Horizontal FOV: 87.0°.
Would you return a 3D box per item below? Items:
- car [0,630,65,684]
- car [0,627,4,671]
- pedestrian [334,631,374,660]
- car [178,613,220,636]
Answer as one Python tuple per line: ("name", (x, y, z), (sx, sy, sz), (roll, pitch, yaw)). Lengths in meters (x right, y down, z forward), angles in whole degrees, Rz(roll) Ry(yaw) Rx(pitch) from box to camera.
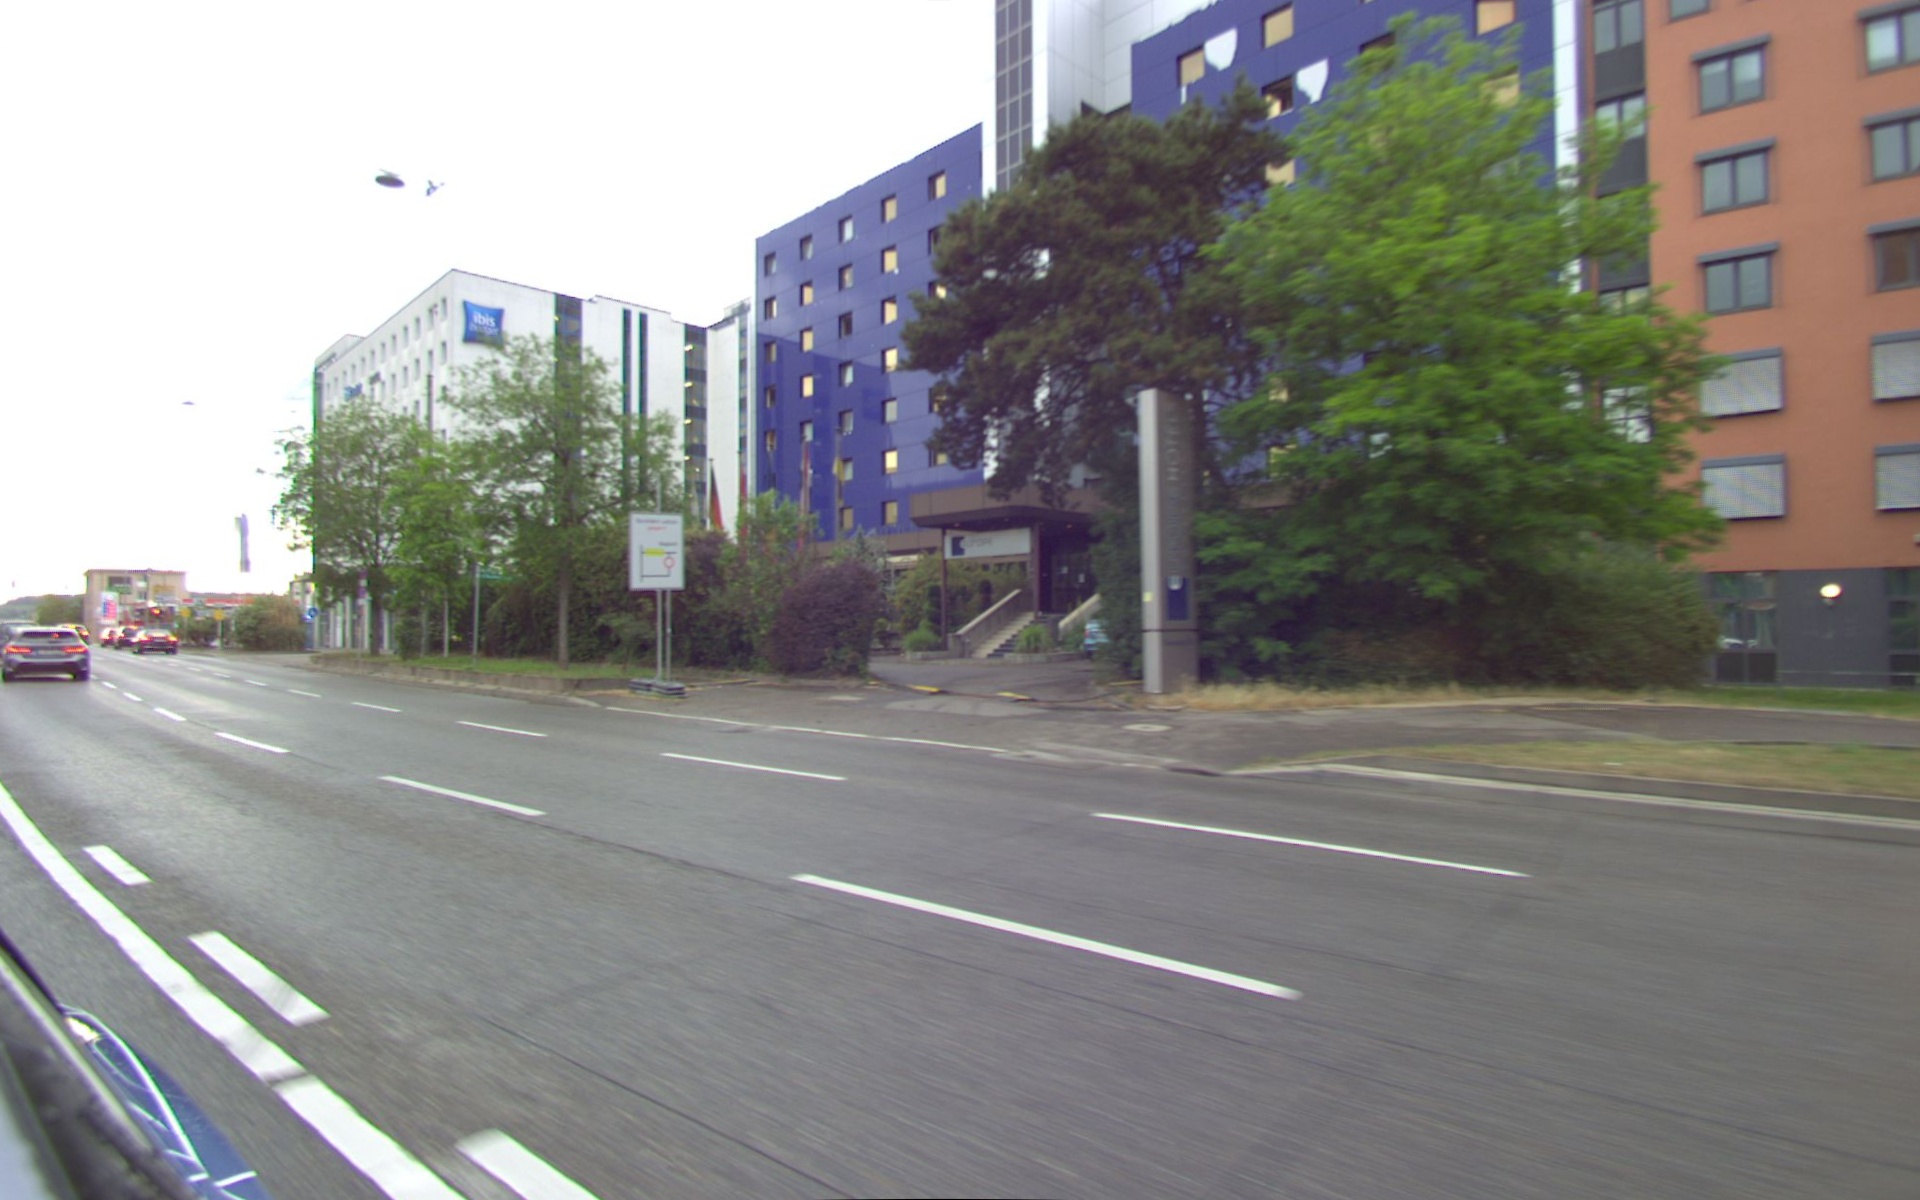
("car", (-26.099, 1.526, 27.903), (3.999, 1.375, 1.693), (-1, -2, 42))
("car", (-38.133, 1.921, 39.206), (1.485, 1.679, 3.422), (2, -4, -44))
("pedestrian", (-38.029, 2.855, 63.520), (1.965, 1.734, 1.701), (0, -3, -25))
("car", (-47.844, 1.568, 63.571), (1.602, 1.334, 4.450), (4, -5, -43))
